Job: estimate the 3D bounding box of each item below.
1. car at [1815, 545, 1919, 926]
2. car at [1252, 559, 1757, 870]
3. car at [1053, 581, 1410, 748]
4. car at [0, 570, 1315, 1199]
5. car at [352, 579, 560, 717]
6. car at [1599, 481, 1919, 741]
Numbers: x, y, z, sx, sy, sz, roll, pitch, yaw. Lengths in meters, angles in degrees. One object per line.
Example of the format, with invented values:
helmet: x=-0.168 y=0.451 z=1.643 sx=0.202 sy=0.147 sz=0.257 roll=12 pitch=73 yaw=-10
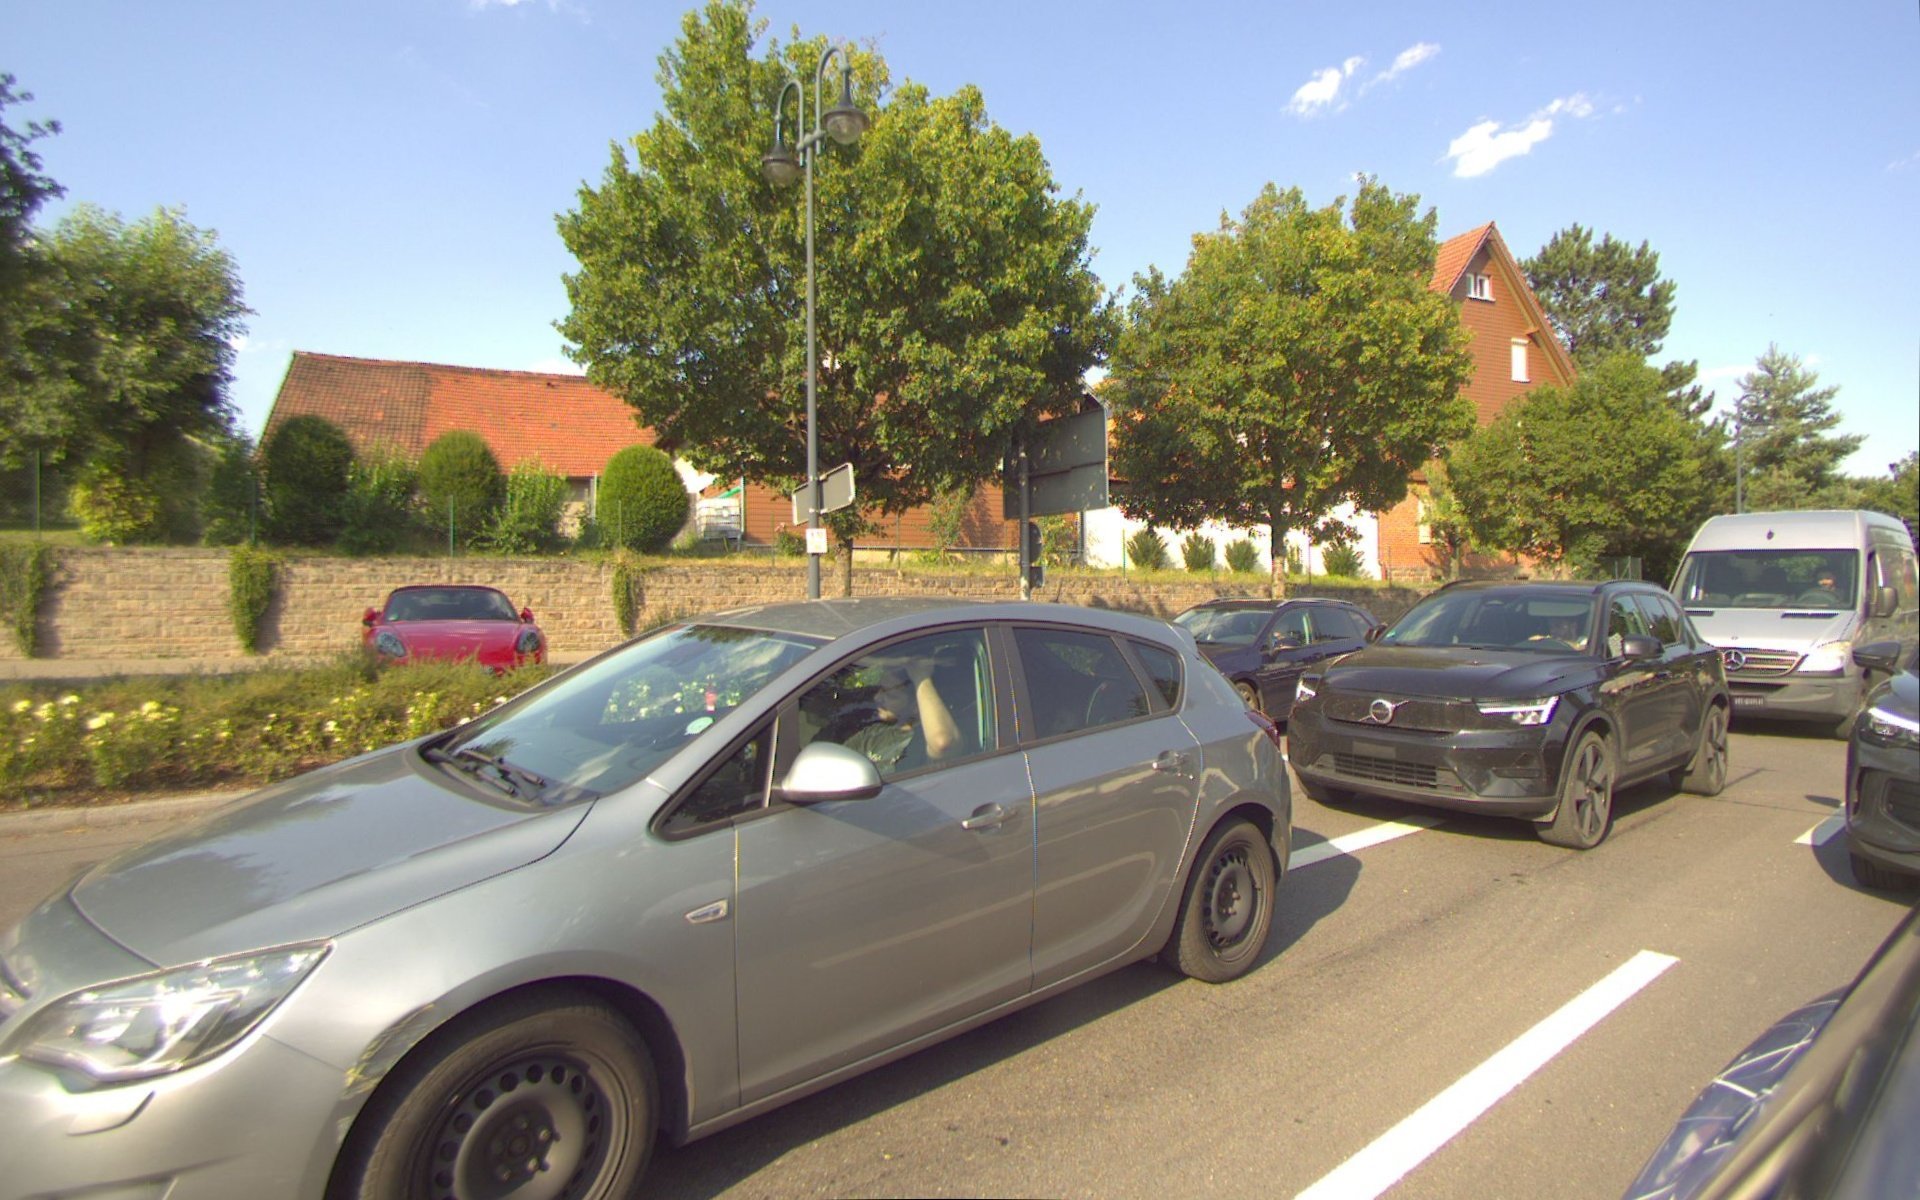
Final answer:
car: x=6.377 y=0.591 z=5.510 sx=4.646 sy=1.677 sz=1.893 roll=0 pitch=0 yaw=-40
car: x=4.098 y=0.585 z=7.347 sx=4.054 sy=1.629 sz=1.885 roll=0 pitch=0 yaw=-40
car: x=3.150 y=0.583 z=11.348 sx=4.126 sy=1.538 sz=1.820 roll=0 pitch=0 yaw=-39
car: x=-0.627 y=0.670 z=3.494 sx=4.095 sy=1.460 sz=1.746 roll=0 pitch=0 yaw=-41
car: x=-5.801 y=0.436 z=11.661 sx=1.816 sy=1.288 sz=4.005 roll=0 pitch=0 yaw=-28
car: x=10.556 y=0.089 z=12.899 sx=6.082 sy=2.579 sz=2.369 roll=0 pitch=0 yaw=-40
